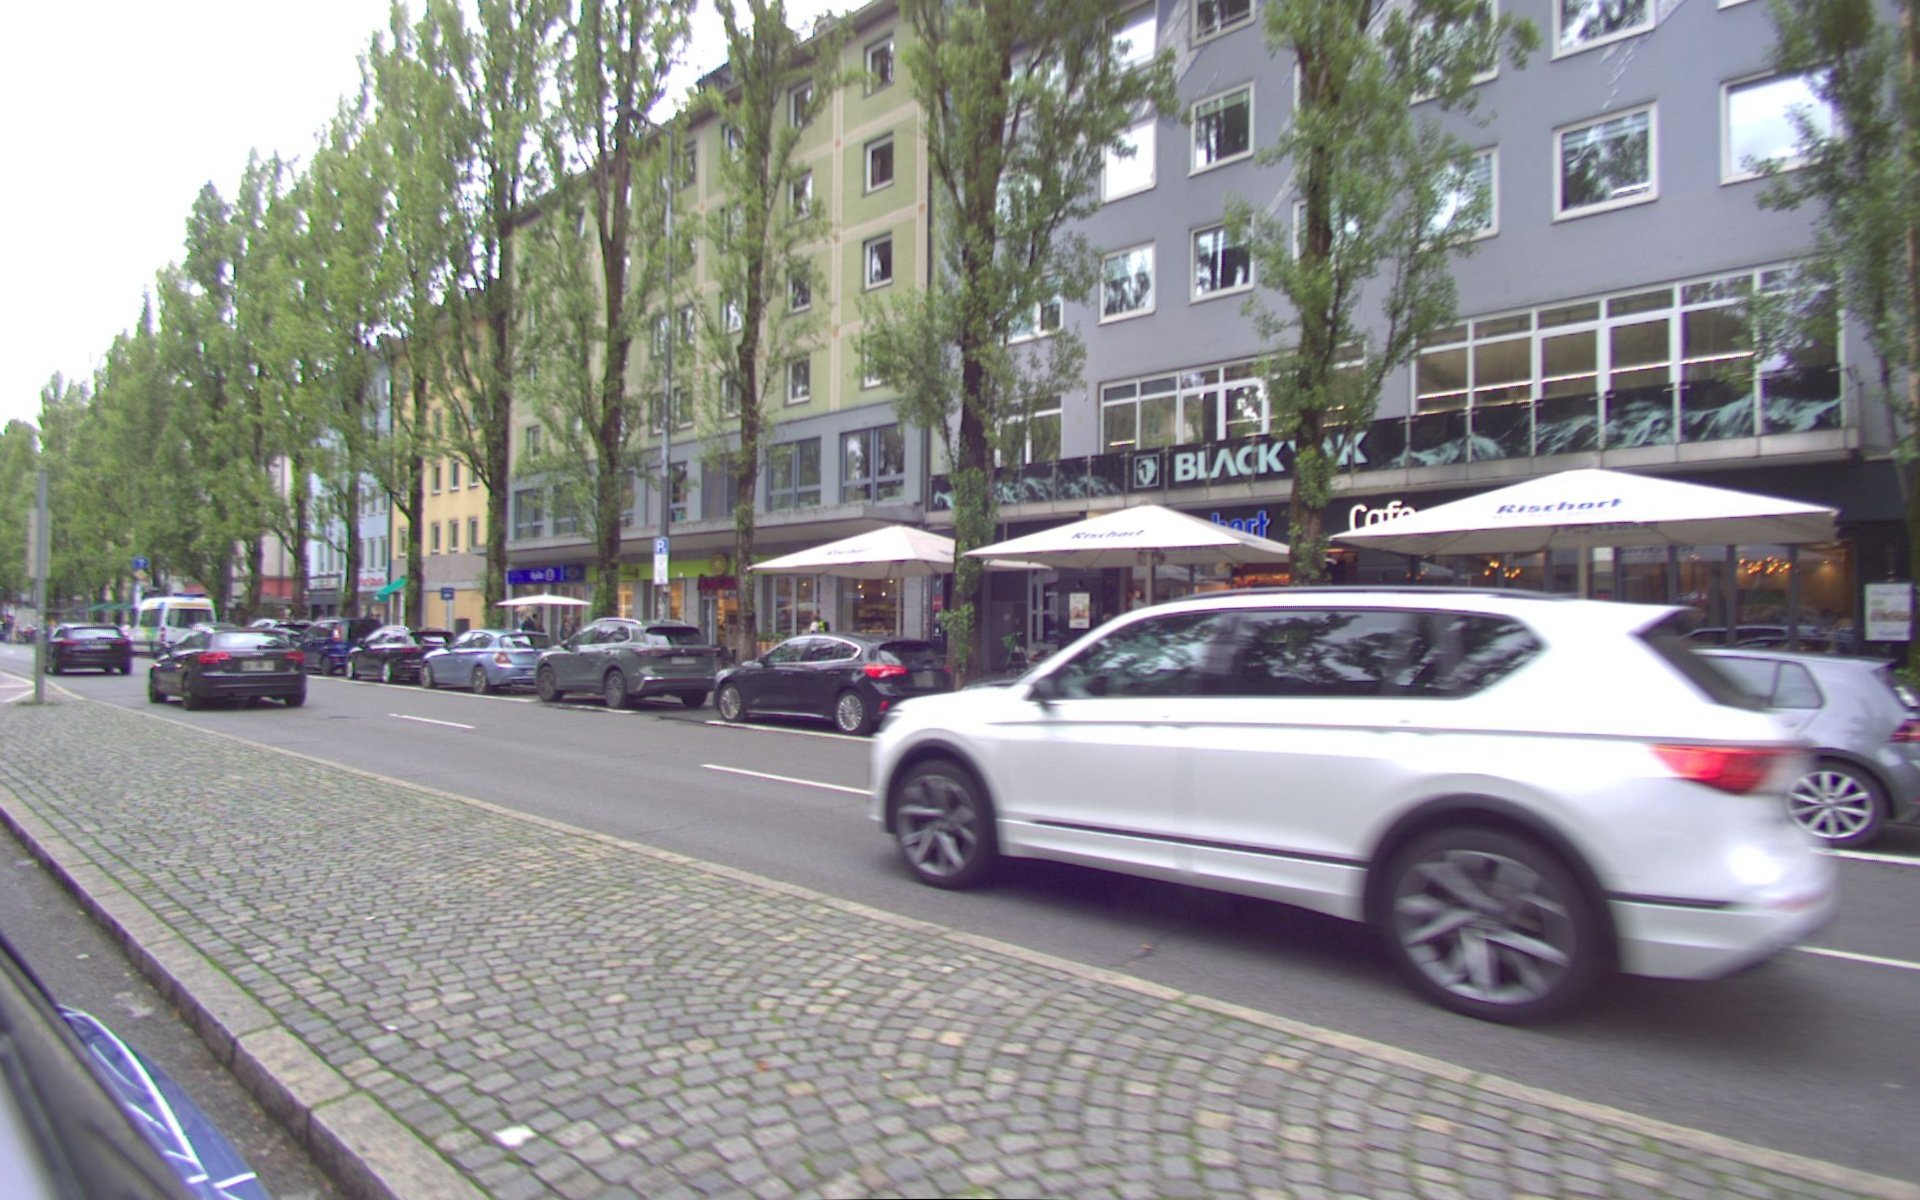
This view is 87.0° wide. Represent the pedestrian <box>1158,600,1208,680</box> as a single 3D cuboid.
[{"bbox_3d":[4.745,0.840,21.529,0.756,1.653,0.732,-1,-2,43],"label":"pedestrian"}]

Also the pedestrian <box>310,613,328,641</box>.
[{"bbox_3d":[-32.989,1.383,52.077,0.550,1.449,0.641,-1,-2,36],"label":"pedestrian"}]

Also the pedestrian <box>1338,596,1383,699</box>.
[{"bbox_3d":[8.867,1.043,22.408,0.691,2.228,0.772,-1,-2,40],"label":"pedestrian"}]

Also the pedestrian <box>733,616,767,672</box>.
[{"bbox_3d":[-6.397,1.341,30.884,0.755,1.685,0.701,-1,-2,41],"label":"pedestrian"}]

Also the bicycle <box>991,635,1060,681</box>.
[{"bbox_3d":[1.601,1.408,24.846,1.575,1.105,0.612,-1,-2,30],"label":"bicycle"}]

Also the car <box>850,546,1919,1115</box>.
[{"bbox_3d":[1.669,0.743,5.169,4.573,1.648,1.824,-1,-3,42],"label":"car"}]

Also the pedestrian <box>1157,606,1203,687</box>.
[{"bbox_3d":[4.946,1.039,22.726,0.755,1.768,0.733,-1,-2,41],"label":"pedestrian"}]

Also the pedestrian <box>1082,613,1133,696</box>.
[{"bbox_3d":[2.981,1.082,20.399,0.742,1.614,0.746,-1,-2,40],"label":"pedestrian"}]

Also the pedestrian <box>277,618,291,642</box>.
[{"bbox_3d":[-40.461,1.792,60.582,0.600,1.449,0.551,2,-2,-43],"label":"pedestrian"}]

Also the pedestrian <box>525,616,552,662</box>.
[{"bbox_3d":[-16.799,1.544,40.344,0.715,1.808,0.739,-1,-2,41],"label":"pedestrian"}]

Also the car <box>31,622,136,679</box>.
[{"bbox_3d":[-25.173,1.421,29.022,4.049,1.476,1.738,-1,-3,42],"label":"car"}]

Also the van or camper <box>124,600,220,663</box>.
[{"bbox_3d":[-34.446,1.340,44.149,6.641,2.570,2.103,-1,-2,42],"label":"van or camper"}]

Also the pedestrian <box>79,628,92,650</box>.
[{"bbox_3d":[-62.828,2.798,72.712,0.600,1.601,0.552,2,-2,-38],"label":"pedestrian"}]

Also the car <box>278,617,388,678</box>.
[{"bbox_3d":[-18.994,1.426,30.618,3.767,1.699,1.601,0,-4,39],"label":"car"}]

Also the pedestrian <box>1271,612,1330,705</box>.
[{"bbox_3d":[6.114,1.038,18.159,0.756,1.614,0.732,-1,-2,43],"label":"pedestrian"}]

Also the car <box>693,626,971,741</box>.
[{"bbox_3d":[-2.058,1.177,15.449,4.366,1.477,1.660,0,-3,40],"label":"car"}]

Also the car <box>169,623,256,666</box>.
[{"bbox_3d":[-29.234,1.707,39.544,4.257,1.541,1.686,0,-3,39],"label":"car"}]

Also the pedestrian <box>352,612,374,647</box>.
[{"bbox_3d":[-29.987,1.484,50.812,0.723,1.779,0.723,-1,-2,40],"label":"pedestrian"}]

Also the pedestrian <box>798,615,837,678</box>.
[{"bbox_3d":[-4.087,1.319,28.948,0.755,1.768,0.810,-1,-2,41],"label":"pedestrian"}]

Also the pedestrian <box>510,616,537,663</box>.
[{"bbox_3d":[-17.195,1.547,39.867,0.715,1.808,0.739,-1,-2,41],"label":"pedestrian"}]

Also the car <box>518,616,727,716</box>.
[{"bbox_3d":[-6.587,1.181,19.487,4.585,1.693,1.760,-1,-3,42],"label":"car"}]

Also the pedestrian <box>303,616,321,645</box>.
[{"bbox_3d":[-38.385,1.802,59.915,0.705,1.663,0.714,-1,-2,41],"label":"pedestrian"}]

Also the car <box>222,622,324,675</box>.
[{"bbox_3d":[-22.968,1.588,33.779,4.501,1.645,1.685,-1,-3,41],"label":"car"}]

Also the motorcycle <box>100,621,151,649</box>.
[{"bbox_3d":[-44.010,1.859,53.404,0.569,1.432,2.000,-1,-2,34],"label":"motorcycle"}]

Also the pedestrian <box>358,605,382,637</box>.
[{"bbox_3d":[-27.123,0.961,46.541,0.550,1.449,0.759,-1,-2,36],"label":"pedestrian"}]

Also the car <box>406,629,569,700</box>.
[{"bbox_3d":[-10.874,1.416,23.175,4.397,1.428,1.641,0,-3,40],"label":"car"}]

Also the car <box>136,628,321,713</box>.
[{"bbox_3d":[-13.433,1.232,18.505,4.174,1.372,1.817,-1,-4,41],"label":"car"}]

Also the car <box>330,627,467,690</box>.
[{"bbox_3d":[-14.795,1.468,26.556,4.583,1.457,1.685,-1,-2,41],"label":"car"}]

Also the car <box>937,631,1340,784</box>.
[{"bbox_3d":[1.957,1.125,11.915,4.430,1.423,1.686,0,-3,40],"label":"car"}]

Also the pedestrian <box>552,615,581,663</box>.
[{"bbox_3d":[-14.023,1.388,36.081,0.711,1.663,0.714,-1,-2,41],"label":"pedestrian"}]

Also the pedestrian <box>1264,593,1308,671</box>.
[{"bbox_3d":[7.756,0.768,24.091,0.743,1.818,0.772,-2,-2,43],"label":"pedestrian"}]

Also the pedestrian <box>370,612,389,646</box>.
[{"bbox_3d":[-29.531,1.494,51.469,0.723,1.717,0.632,-1,-2,41],"label":"pedestrian"}]
